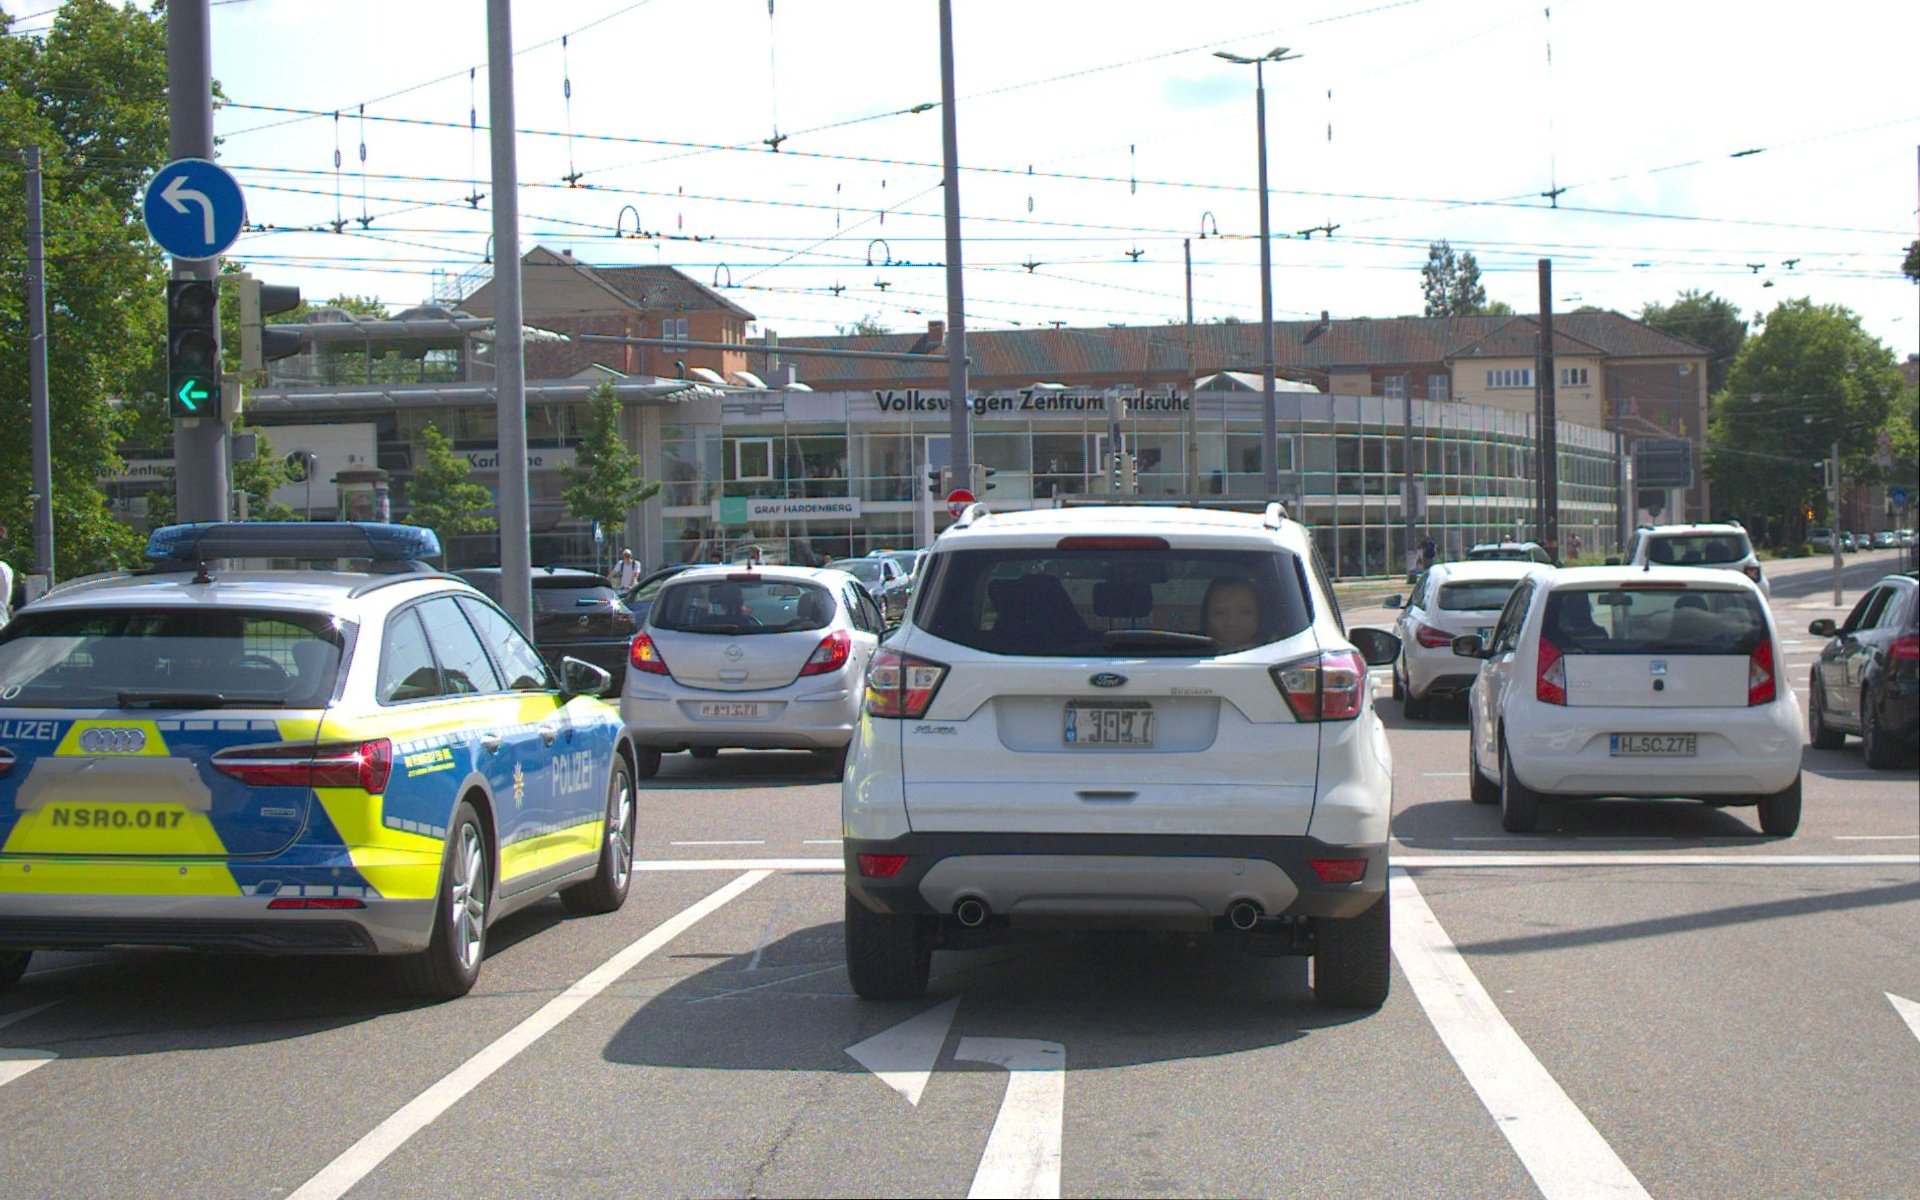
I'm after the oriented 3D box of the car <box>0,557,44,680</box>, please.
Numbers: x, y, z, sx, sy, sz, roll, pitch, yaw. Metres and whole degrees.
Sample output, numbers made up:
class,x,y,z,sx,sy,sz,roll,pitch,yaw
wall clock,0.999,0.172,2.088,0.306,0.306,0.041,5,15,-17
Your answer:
class,x,y,z,sx,sy,sz,roll,pitch,yaw
car,-14.355,0.244,44.705,4.531,1.573,2.043,0,1,28

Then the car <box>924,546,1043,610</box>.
class,x,y,z,sx,sy,sz,roll,pitch,yaw
car,0.621,-0.575,86.844,1.628,1.456,3.964,-2,1,22

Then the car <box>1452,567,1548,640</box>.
class,x,y,z,sx,sy,sz,roll,pitch,yaw
car,10.829,0.059,69.127,1.850,1.414,3.678,0,0,8

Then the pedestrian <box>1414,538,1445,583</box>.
class,x,y,z,sx,sy,sz,roll,pitch,yaw
pedestrian,18.218,-1.516,133.413,0.877,1.731,0.874,1,0,35

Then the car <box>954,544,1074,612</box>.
class,x,y,z,sx,sy,sz,roll,pitch,yaw
car,1.277,-0.525,79.672,1.690,1.456,3.965,-2,1,17

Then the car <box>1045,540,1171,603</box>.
class,x,y,z,sx,sy,sz,roll,pitch,yaw
car,3.742,-0.726,86.102,1.901,1.456,3.964,-2,0,22

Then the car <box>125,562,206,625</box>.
class,x,y,z,sx,sy,sz,roll,pitch,yaw
car,-26.741,-0.200,115.854,1.993,2.007,4.231,-3,0,-5

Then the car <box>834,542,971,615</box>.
class,x,y,z,sx,sy,sz,roll,pitch,yaw
car,-1.317,-0.508,80.233,1.739,1.568,3.996,-2,1,22

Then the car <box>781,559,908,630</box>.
class,x,y,z,sx,sy,sz,roll,pitch,yaw
car,-2.397,-0.136,72.227,1.738,1.368,3.639,-2,1,13

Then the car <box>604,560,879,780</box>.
class,x,y,z,sx,sy,sz,roll,pitch,yaw
car,-1.538,0.452,25.264,1.848,1.469,4.000,0,1,-2

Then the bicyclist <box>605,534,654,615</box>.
class,x,y,z,sx,sy,sz,roll,pitch,yaw
bicyclist,-7.012,-0.548,72.892,0.760,1.677,0.760,-2,1,14

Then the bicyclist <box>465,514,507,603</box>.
class,x,y,z,sx,sy,sz,roll,pitch,yaw
bicyclist,-9.319,-0.821,67.640,0.660,1.732,0.639,0,1,8

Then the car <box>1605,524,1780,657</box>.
class,x,y,z,sx,sy,sz,roll,pitch,yaw
car,9.475,-0.120,44.711,1.837,1.646,3.999,0,0,7

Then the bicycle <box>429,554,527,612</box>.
class,x,y,z,sx,sy,sz,roll,pitch,yaw
bicycle,-9.482,-0.330,67.677,1.779,1.121,0.639,0,1,9

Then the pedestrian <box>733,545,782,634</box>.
class,x,y,z,sx,sy,sz,roll,pitch,yaw
pedestrian,-4.027,-0.209,68.349,0.924,1.738,0.589,1,0,0

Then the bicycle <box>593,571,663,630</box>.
class,x,y,z,sx,sy,sz,roll,pitch,yaw
bicycle,-7.017,-0.002,72.831,0.760,1.188,2.149,-2,1,14

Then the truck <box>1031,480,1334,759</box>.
class,x,y,z,sx,sy,sz,roll,pitch,yaw
truck,1.994,0.115,29.497,2.339,2.148,5.851,0,1,5

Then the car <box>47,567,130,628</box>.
class,x,y,z,sx,sy,sz,roll,pitch,yaw
car,-29.402,-0.058,116.092,1.967,1.930,4.231,-3,0,-5

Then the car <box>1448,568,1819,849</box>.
class,x,y,z,sx,sy,sz,roll,pitch,yaw
car,3.872,0.562,20.326,1.649,1.417,4.000,-2,1,4

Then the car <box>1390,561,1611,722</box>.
class,x,y,z,sx,sy,sz,roll,pitch,yaw
car,5.012,0.356,32.281,1.850,1.414,3.678,0,0,6

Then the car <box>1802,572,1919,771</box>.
class,x,y,z,sx,sy,sz,roll,pitch,yaw
car,7.529,0.488,25.999,1.699,1.367,4.132,0,1,6

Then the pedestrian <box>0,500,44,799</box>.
class,x,y,z,sx,sy,sz,roll,pitch,yaw
pedestrian,-6.477,0.325,22.286,0.847,1.910,0.692,-2,0,-1

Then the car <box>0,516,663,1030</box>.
class,x,y,z,sx,sy,sz,roll,pitch,yaw
car,-2.443,0.538,12.899,1.880,1.563,4.614,-1,0,5

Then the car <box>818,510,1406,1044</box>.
class,x,y,z,sx,sy,sz,roll,pitch,yaw
car,0.563,0.532,12.689,1.827,1.658,3.955,0,0,3
